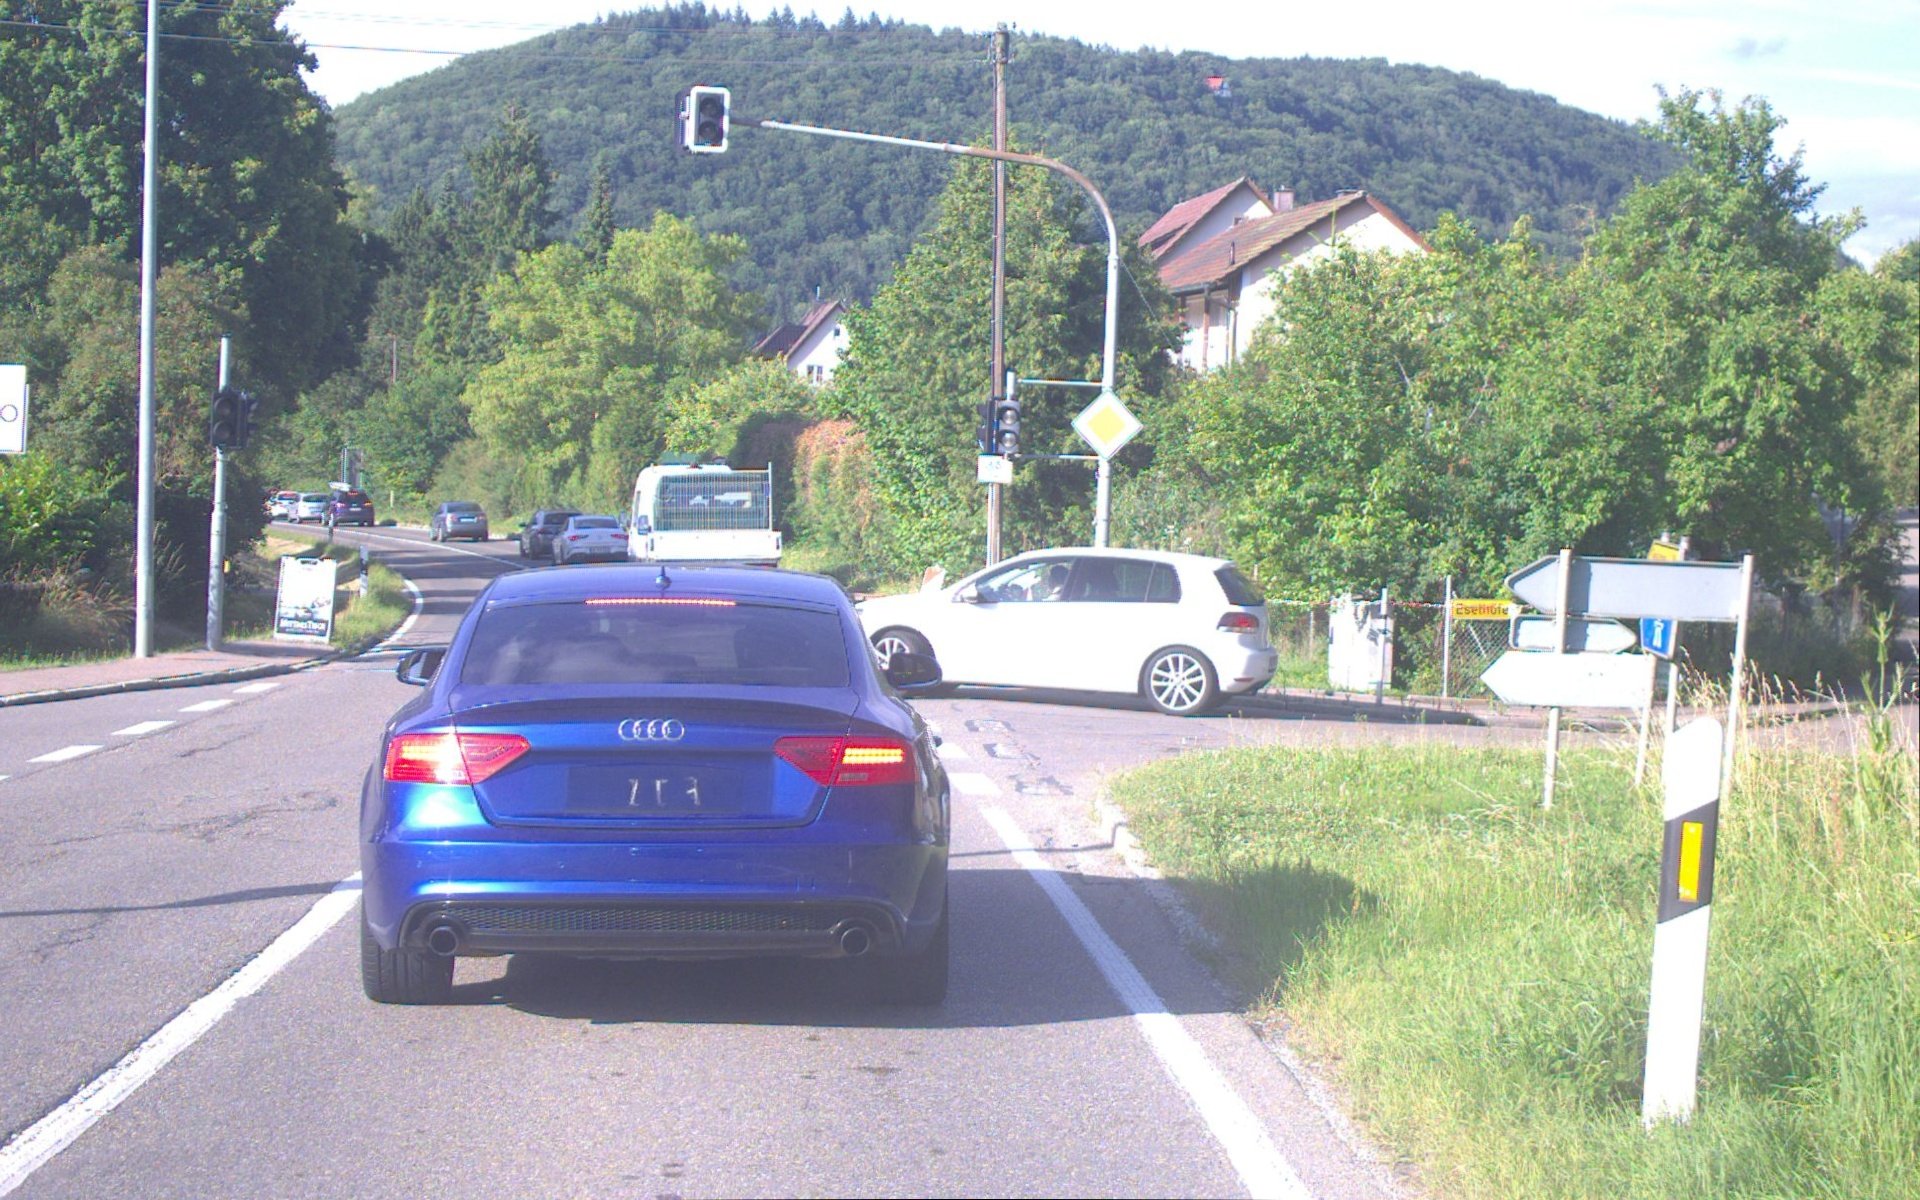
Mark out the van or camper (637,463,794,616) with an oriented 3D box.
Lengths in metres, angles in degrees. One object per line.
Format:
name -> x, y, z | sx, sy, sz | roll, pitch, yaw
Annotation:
van or camper -> -4.059, -1.029, 56.240 | 2.179, 2.377, 5.371 | 0, 2, -8

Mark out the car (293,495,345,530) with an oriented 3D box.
car -> -30.543, -4.170, 163.768 | 1.941, 1.678, 4.001 | -1, 2, -17

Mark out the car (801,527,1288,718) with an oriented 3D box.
car -> 0.807, 0.176, 31.650 | 4.162, 1.410, 1.776 | 4, 2, 11

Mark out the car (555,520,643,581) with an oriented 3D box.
car -> -9.466, -1.312, 89.971 | 1.819, 1.546, 4.001 | -1, 2, -13

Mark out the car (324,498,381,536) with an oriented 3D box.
car -> -27.306, -3.743, 154.434 | 2.040, 1.678, 4.002 | 0, 2, -17

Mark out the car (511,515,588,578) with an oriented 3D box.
car -> -12.100, -1.597, 101.262 | 1.796, 1.787, 4.001 | 0, 2, -13

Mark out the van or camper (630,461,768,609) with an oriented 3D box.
van or camper -> -5.420, -1.379, 70.695 | 2.414, 2.894, 6.133 | 0, 2, -8

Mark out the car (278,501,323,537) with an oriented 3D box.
car -> -33.121, -4.096, 172.502 | 1.748, 1.776, 4.001 | -1, 2, -17

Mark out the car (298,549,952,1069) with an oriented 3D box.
car -> -1.083, 0.556, 11.836 | 1.829, 1.404, 4.227 | 0, 2, -4

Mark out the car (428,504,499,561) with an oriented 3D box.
car -> -18.016, -2.464, 124.614 | 1.993, 2.007, 4.001 | -1, 2, -16
